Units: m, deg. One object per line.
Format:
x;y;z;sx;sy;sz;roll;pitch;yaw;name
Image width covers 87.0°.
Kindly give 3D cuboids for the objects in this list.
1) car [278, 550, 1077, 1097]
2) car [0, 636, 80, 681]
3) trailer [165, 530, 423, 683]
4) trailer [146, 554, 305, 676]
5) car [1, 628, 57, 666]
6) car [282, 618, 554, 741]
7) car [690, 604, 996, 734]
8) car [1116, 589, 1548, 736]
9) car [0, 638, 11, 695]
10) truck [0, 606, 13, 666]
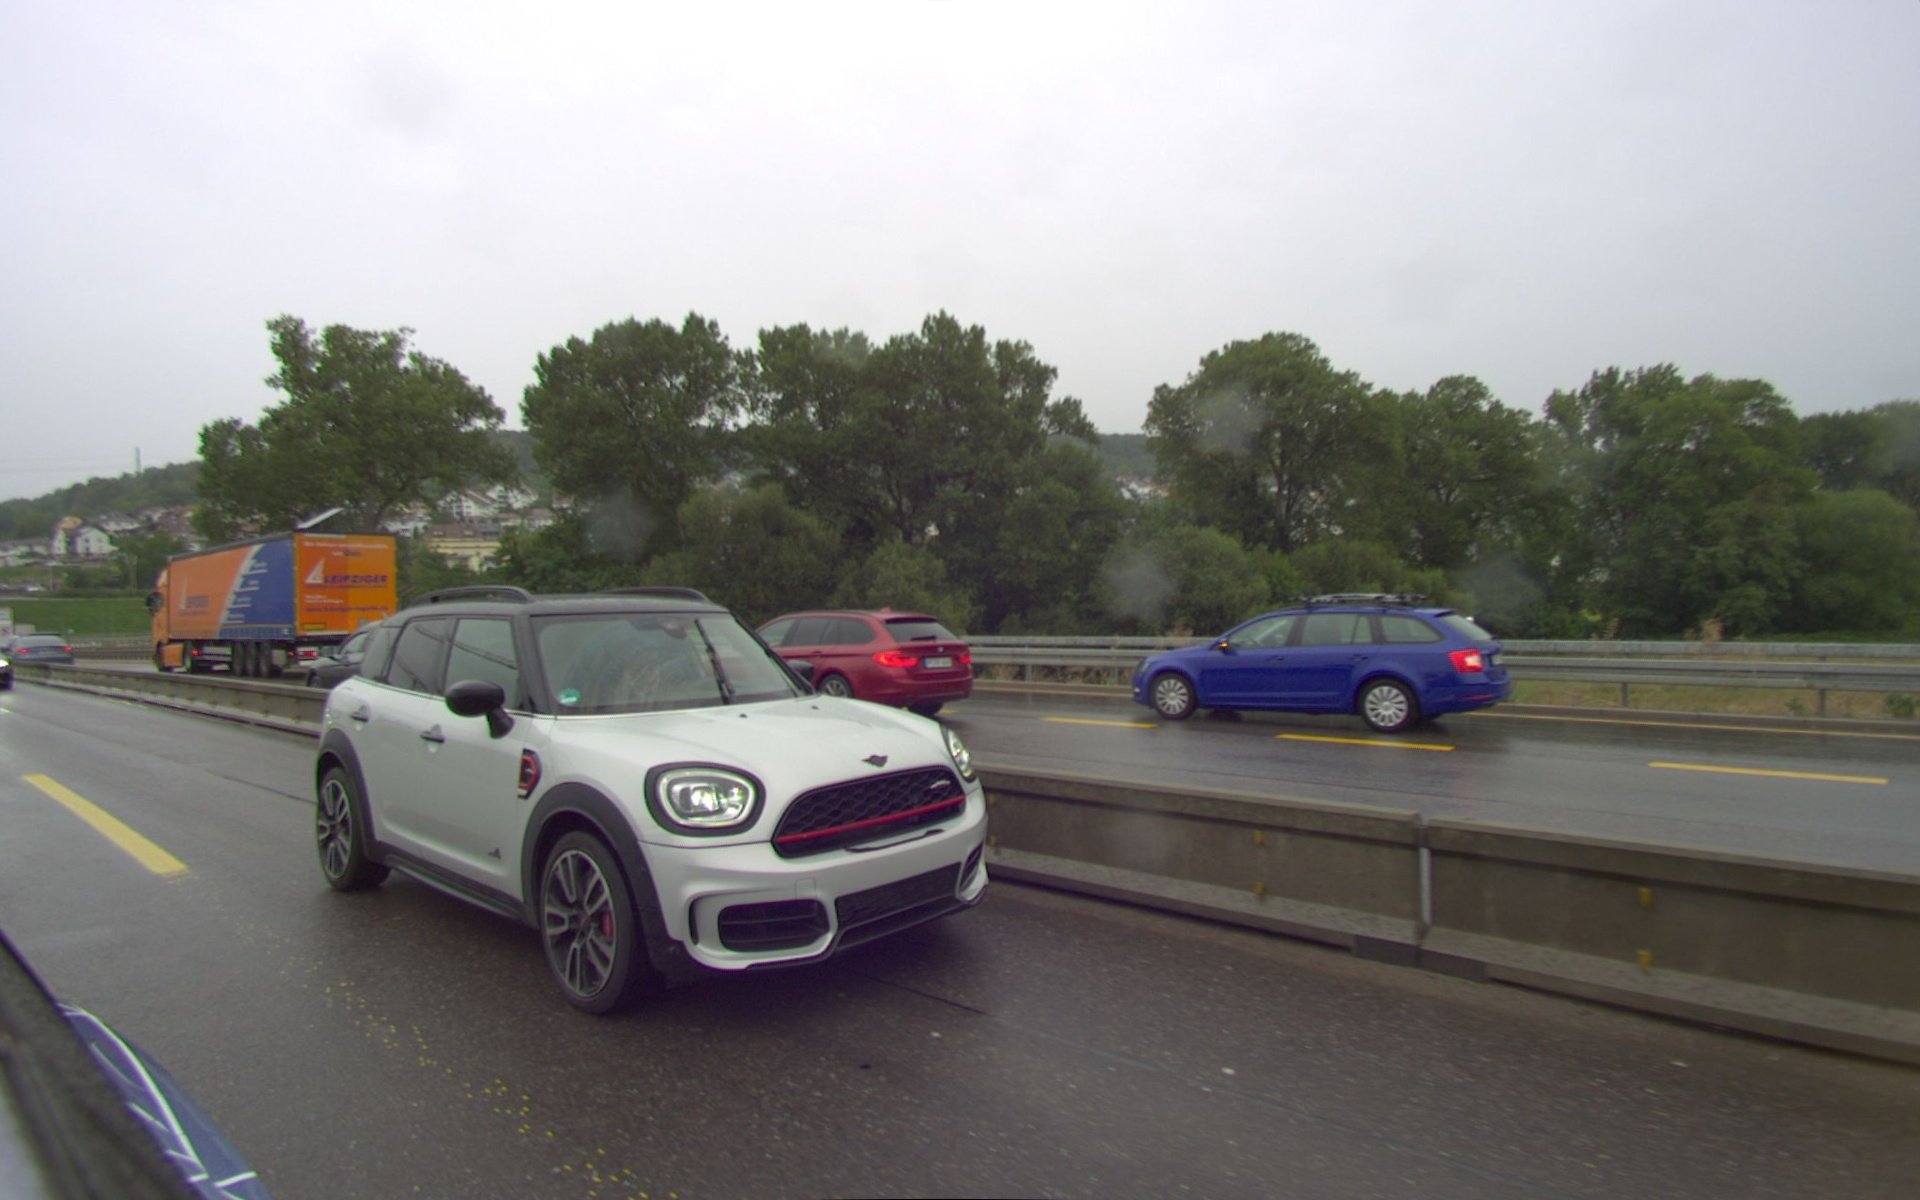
-1.716;0.704;5.098;4.306;1.612;1.797;-2;-1;41;car
-35.239;2.195;38.737;4.125;1.521;1.812;-1;0;41;car
-21.393;0.363;31.868;13.691;3.938;3.243;-2;-1;41;trailer
-26.354;0.573;36.224;6.348;3.948;3.236;-2;-1;41;trailer
-52.559;2.607;57.111;3.998;2.029;1.882;0;-2;41;car
-8.213;1.060;15.136;4.742;1.521;1.953;-1;0;40;car
-1.739;0.849;14.058;4.304;1.521;1.799;-1;0;41;car
4.541;0.675;12.765;4.740;1.521;1.974;-1;0;39;car
-26.895;1.766;26.947;4.481;1.449;1.926;-1;0;41;car
-51.727;1.889;53.068;6.536;3.016;2.382;-1;0;41;truck
